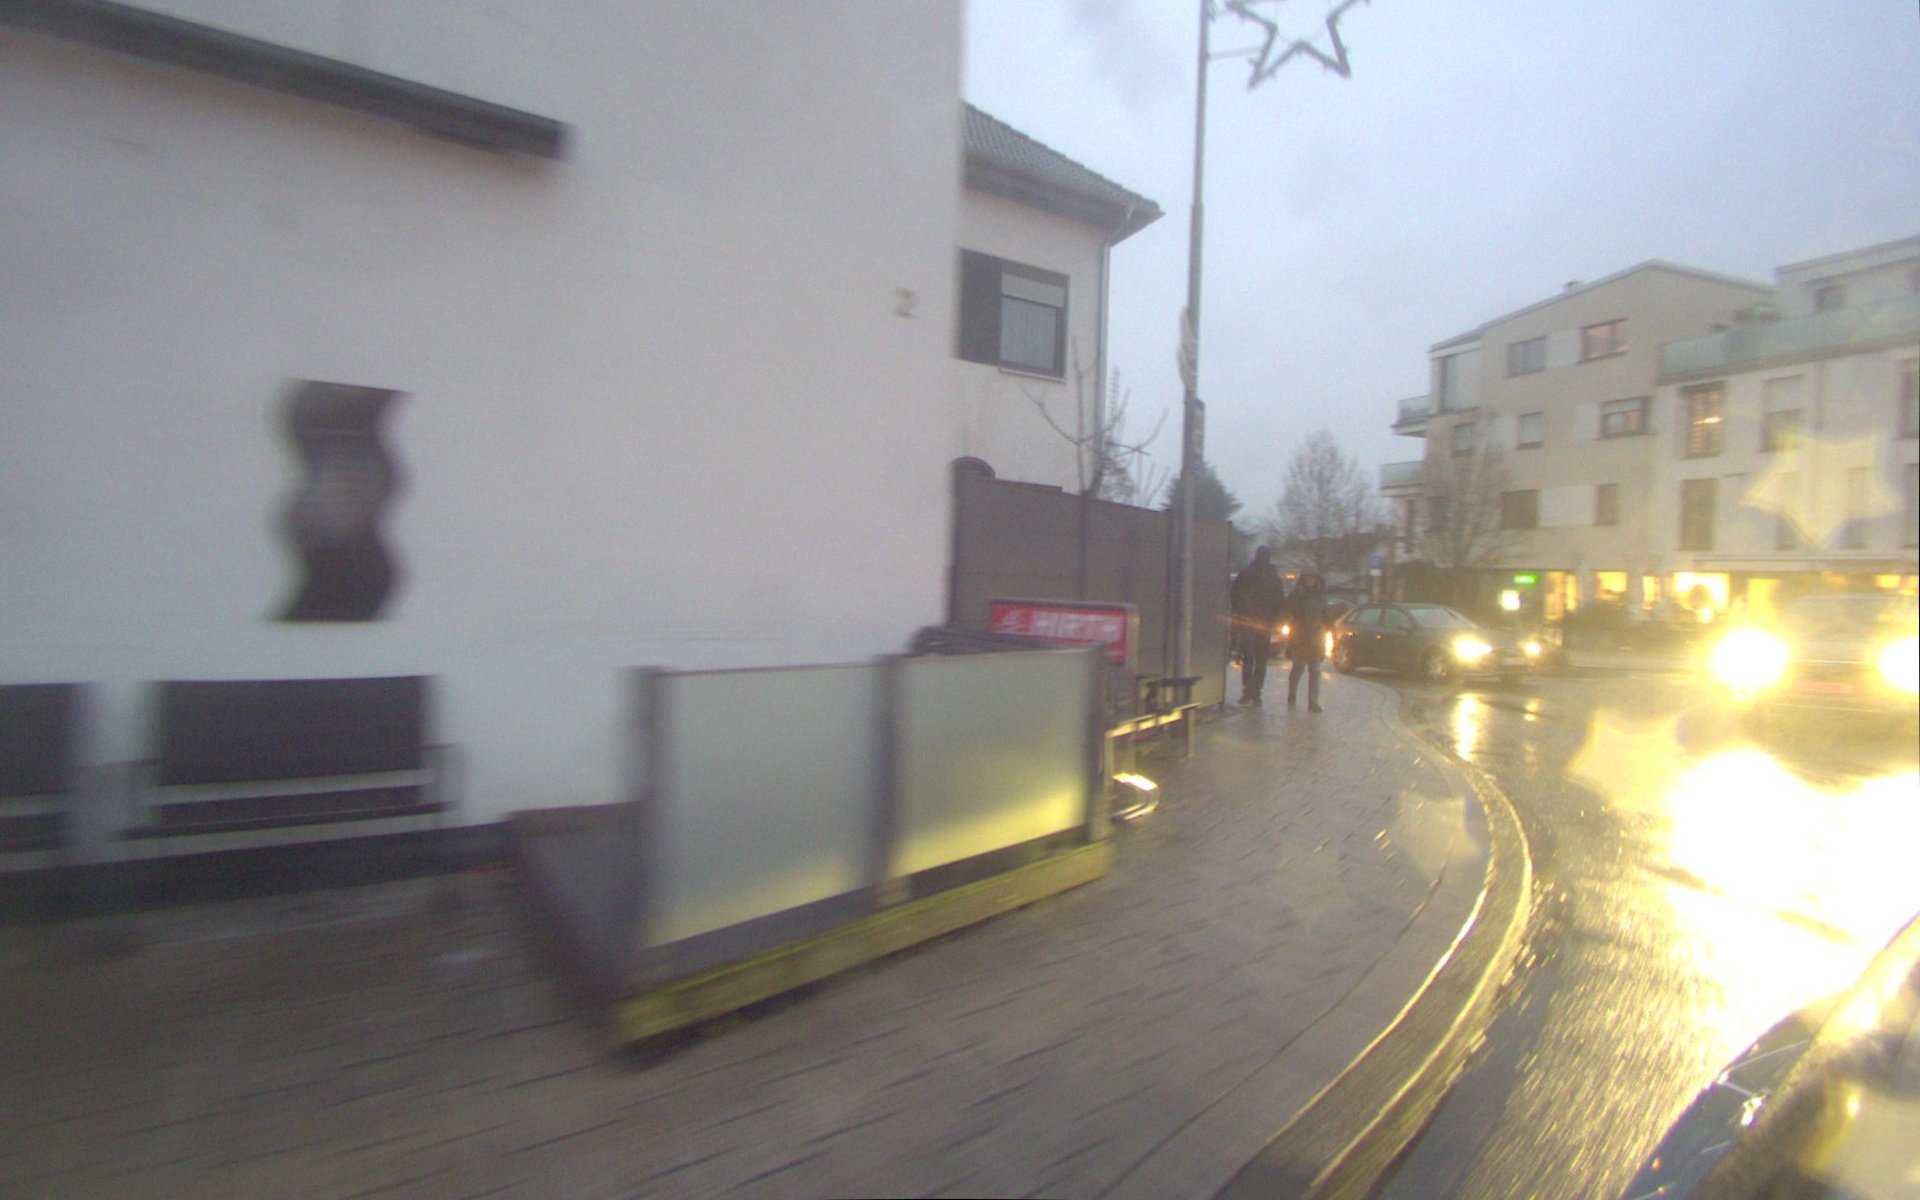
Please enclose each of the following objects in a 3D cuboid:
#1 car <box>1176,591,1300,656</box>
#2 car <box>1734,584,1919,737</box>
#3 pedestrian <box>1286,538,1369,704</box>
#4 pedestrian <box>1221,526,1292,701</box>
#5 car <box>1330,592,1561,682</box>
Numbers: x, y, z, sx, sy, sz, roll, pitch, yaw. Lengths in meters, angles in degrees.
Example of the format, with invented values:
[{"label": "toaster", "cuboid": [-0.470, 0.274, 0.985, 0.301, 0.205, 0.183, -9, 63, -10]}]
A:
[{"label": "car", "cuboid": [6.894, 0.533, 25.483, 1.721, 1.473, 3.669, -1, 1, -7]}, {"label": "car", "cuboid": [11.162, 0.654, 12.651, 1.953, 1.605, 4.045, 2, 1, 43]}, {"label": "pedestrian", "cuboid": [4.079, 0.221, 11.294, 0.757, 1.784, 0.789, 0, 0, 13]}, {"label": "pedestrian", "cuboid": [3.321, 0.141, 11.397, 0.699, 1.889, 0.789, 0, 0, 13]}, {"label": "car", "cuboid": [8.891, 0.593, 18.953, 1.727, 1.498, 4.028, 0, 0, -14]}]
